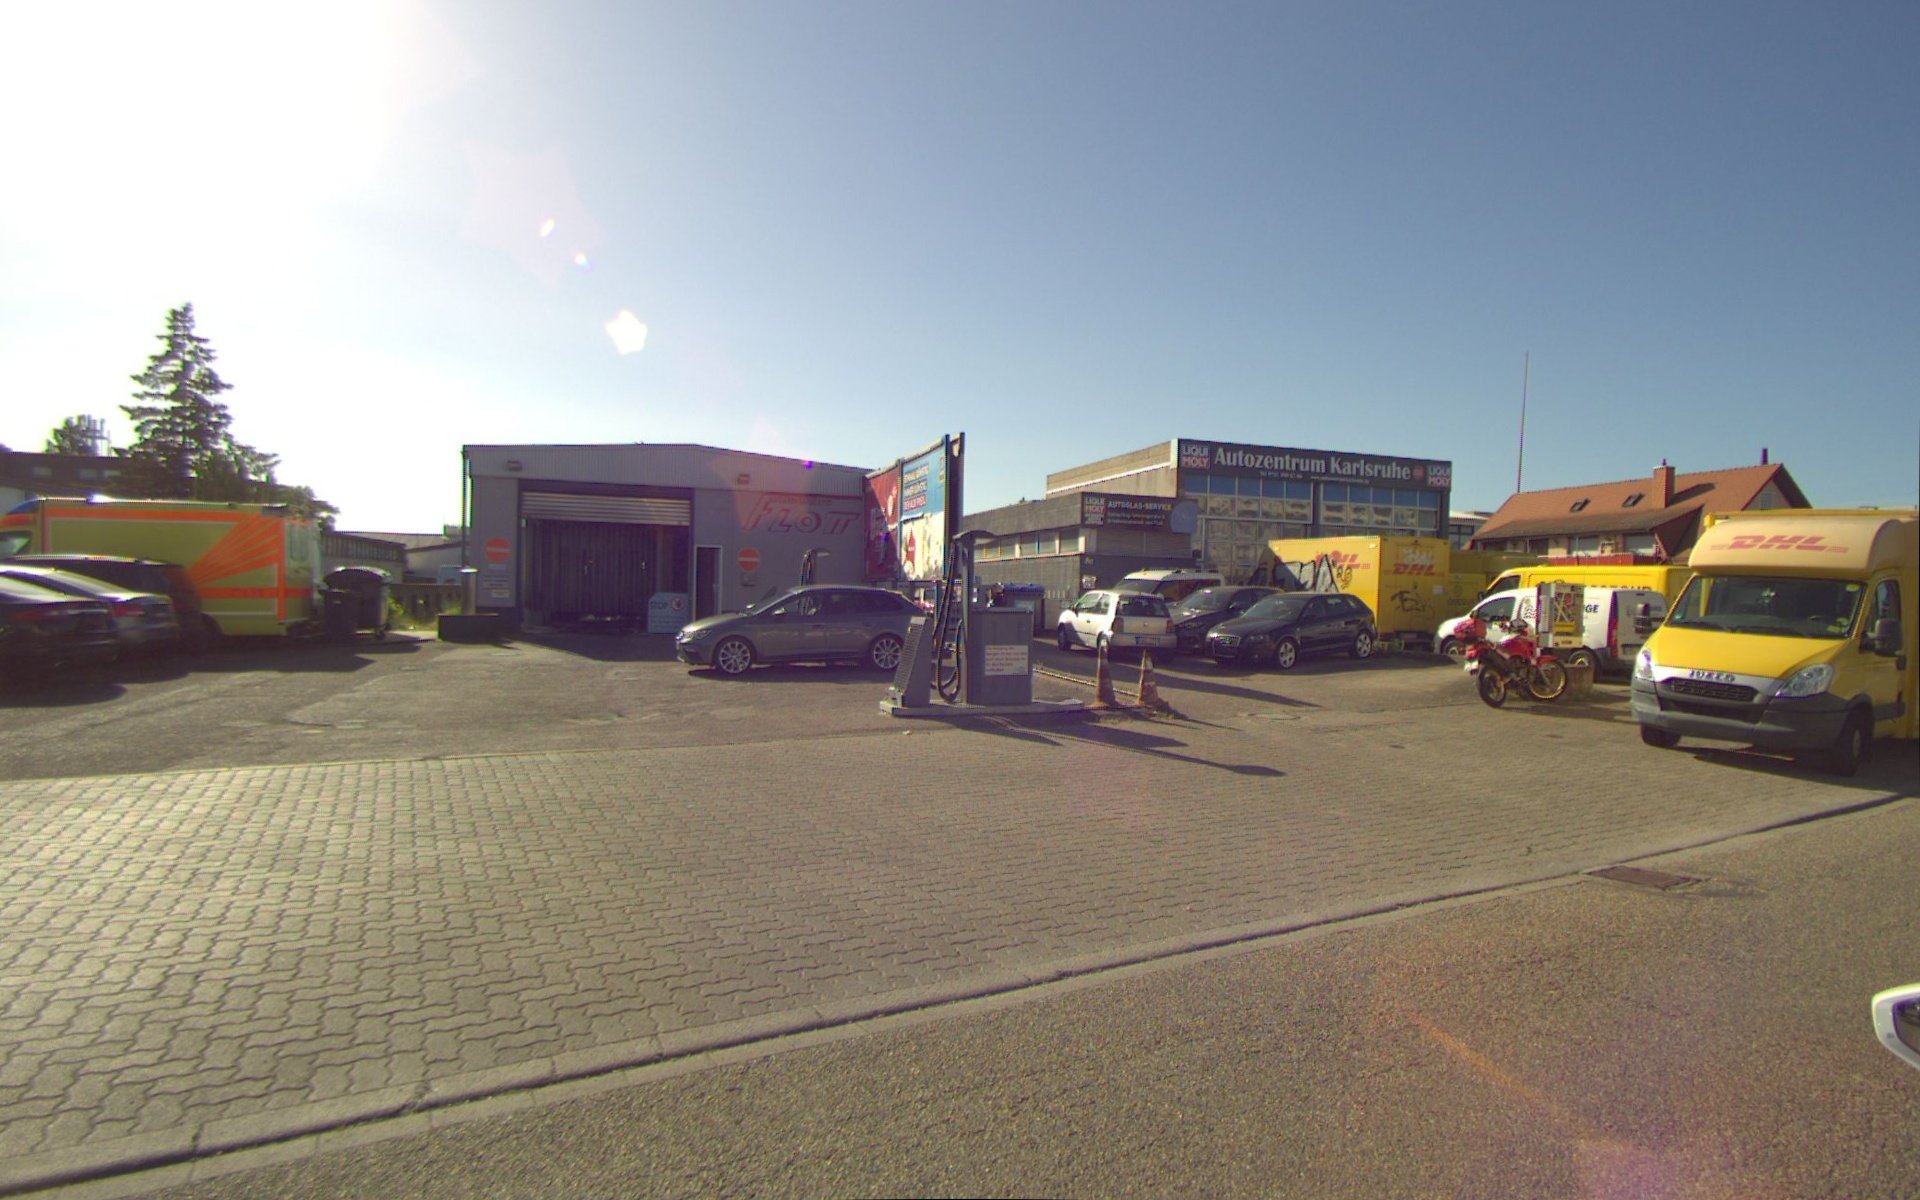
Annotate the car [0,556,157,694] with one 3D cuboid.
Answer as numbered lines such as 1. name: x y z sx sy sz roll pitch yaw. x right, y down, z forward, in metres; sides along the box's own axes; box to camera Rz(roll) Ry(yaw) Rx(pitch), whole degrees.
1. car: -12.380 0.276 11.879 4.099 1.566 1.774 0 1 -19

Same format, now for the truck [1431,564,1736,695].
1. truck: 14.076 0.514 23.283 2.189 2.602 5.916 1 2 -18

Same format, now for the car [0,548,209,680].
1. car: -13.462 0.180 14.269 4.099 1.772 1.774 0 1 -19

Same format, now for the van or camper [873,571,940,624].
1. van or camper: -2.196 -0.105 40.324 1.859 1.973 3.445 1 0 -17

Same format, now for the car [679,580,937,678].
1. car: -2.678 0.446 17.611 4.231 1.566 1.774 0 1 -20

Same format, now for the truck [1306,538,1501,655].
1. truck: 12.575 -0.094 28.972 2.138 3.012 5.332 1 0 -17

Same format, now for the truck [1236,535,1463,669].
1. truck: 10.093 -0.038 26.701 2.483 3.161 5.662 1 2 -18

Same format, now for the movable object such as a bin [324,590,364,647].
1. movable object such as a bin: -11.966 0.354 19.518 0.576 1.089 0.423 1 1 -23

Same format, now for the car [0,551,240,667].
1. car: -14.432 0.121 16.303 4.099 1.772 1.774 0 1 -19

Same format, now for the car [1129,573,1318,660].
1. car: 6.174 0.385 23.532 3.950 1.840 1.985 2 2 -28

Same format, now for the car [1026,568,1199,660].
1. car: 3.265 0.273 22.327 1.972 1.840 3.976 1 0 -24

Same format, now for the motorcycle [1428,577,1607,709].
1. motorcycle: 8.761 0.640 15.747 3.000 1.899 0.778 1 4 -26

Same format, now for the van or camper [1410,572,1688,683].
1. van or camper: 12.027 0.496 20.895 2.219 2.040 4.532 1 0 -23

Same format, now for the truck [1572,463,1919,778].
1. truck: 10.856 0.222 12.534 7.164 3.023 2.390 1 2 -32

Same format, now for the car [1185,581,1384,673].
1. car: 6.837 0.482 21.035 4.170 1.584 1.853 -3 3 -35

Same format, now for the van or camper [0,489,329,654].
1. van or camper: -15.362 -0.482 18.287 6.173 2.751 2.162 1 1 -20

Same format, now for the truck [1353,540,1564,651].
1. truck: 14.928 -0.140 30.652 2.138 3.012 6.089 1 0 -17

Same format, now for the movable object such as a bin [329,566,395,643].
1. movable object such as a bin: -12.138 0.090 20.425 1.032 1.509 0.728 1 1 -23

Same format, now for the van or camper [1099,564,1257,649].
1. van or camper: 5.836 0.177 26.746 3.959 2.041 1.848 1 3 -35

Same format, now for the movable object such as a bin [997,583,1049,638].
1. movable object such as a bin: 1.721 0.281 27.396 1.281 1.471 0.537 1 1 -19

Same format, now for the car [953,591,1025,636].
1. car: 0.835 0.392 30.792 1.291 1.296 3.048 1 0 -17
